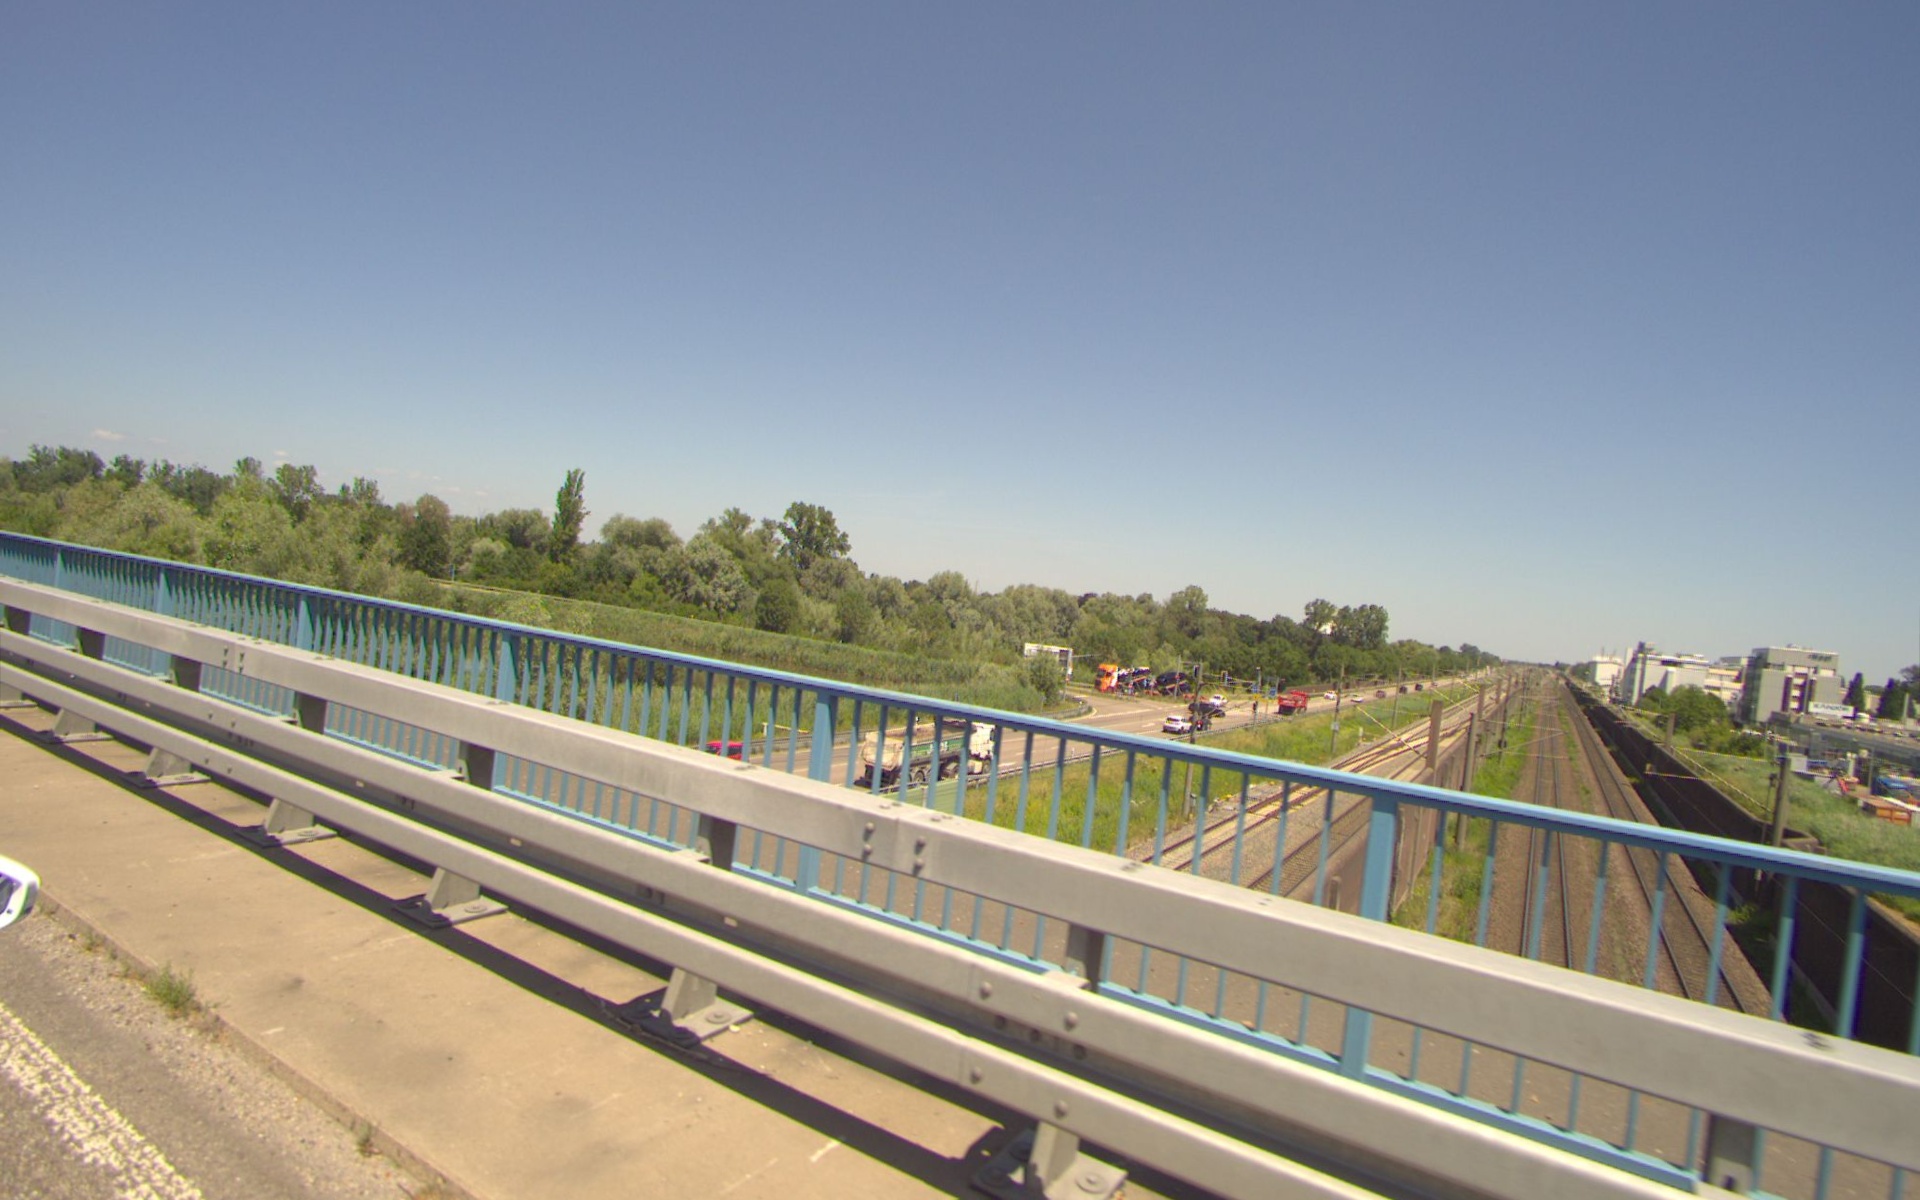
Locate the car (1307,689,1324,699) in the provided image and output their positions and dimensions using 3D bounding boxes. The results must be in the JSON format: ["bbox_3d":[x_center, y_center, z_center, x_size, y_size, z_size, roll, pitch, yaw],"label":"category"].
[{"bbox_3d":[68.463,18.110,193.821,1.968,1.638,4.232,9,1,34],"label":"car"}]

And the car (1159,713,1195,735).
[{"bbox_3d":[21.432,12.231,99.393,1.967,1.638,4.233,9,1,32],"label":"car"}]

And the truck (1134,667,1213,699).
[{"bbox_3d":[29.758,11.554,140.014,12.321,3.397,1.985,7,-1,-30],"label":"truck"}]

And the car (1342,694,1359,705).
[{"bbox_3d":[75.288,19.127,193.907,1.967,1.638,4.233,9,1,32],"label":"car"}]

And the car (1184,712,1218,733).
[{"bbox_3d":[25.251,12.789,105.242,1.967,1.638,4.233,9,1,32],"label":"car"}]

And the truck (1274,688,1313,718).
[{"bbox_3d":[47.547,14.595,143.227,2.827,3.467,10.969,8,1,30],"label":"truck"}]

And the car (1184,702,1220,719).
[{"bbox_3d":[29.361,13.406,122.049,4.215,1.638,1.976,8,1,-42],"label":"car"}]

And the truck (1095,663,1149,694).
[{"bbox_3d":[22.012,10.616,136.554,6.715,3.398,1.995,6,-1,-14],"label":"truck"}]

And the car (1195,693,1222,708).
[{"bbox_3d":[33.352,13.428,135.111,1.968,1.638,4.232,9,1,34],"label":"car"}]

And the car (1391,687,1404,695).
[{"bbox_3d":[101.815,21.133,234.142,1.967,1.638,4.233,9,1,32],"label":"car"}]

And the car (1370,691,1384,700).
[{"bbox_3d":[92.549,21.176,223.433,1.967,1.638,4.233,9,1,32],"label":"car"}]

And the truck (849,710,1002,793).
[{"bbox_3d":[-1.658,8.559,58.525,2.826,3.467,11.918,8,1,29],"label":"truck"}]
